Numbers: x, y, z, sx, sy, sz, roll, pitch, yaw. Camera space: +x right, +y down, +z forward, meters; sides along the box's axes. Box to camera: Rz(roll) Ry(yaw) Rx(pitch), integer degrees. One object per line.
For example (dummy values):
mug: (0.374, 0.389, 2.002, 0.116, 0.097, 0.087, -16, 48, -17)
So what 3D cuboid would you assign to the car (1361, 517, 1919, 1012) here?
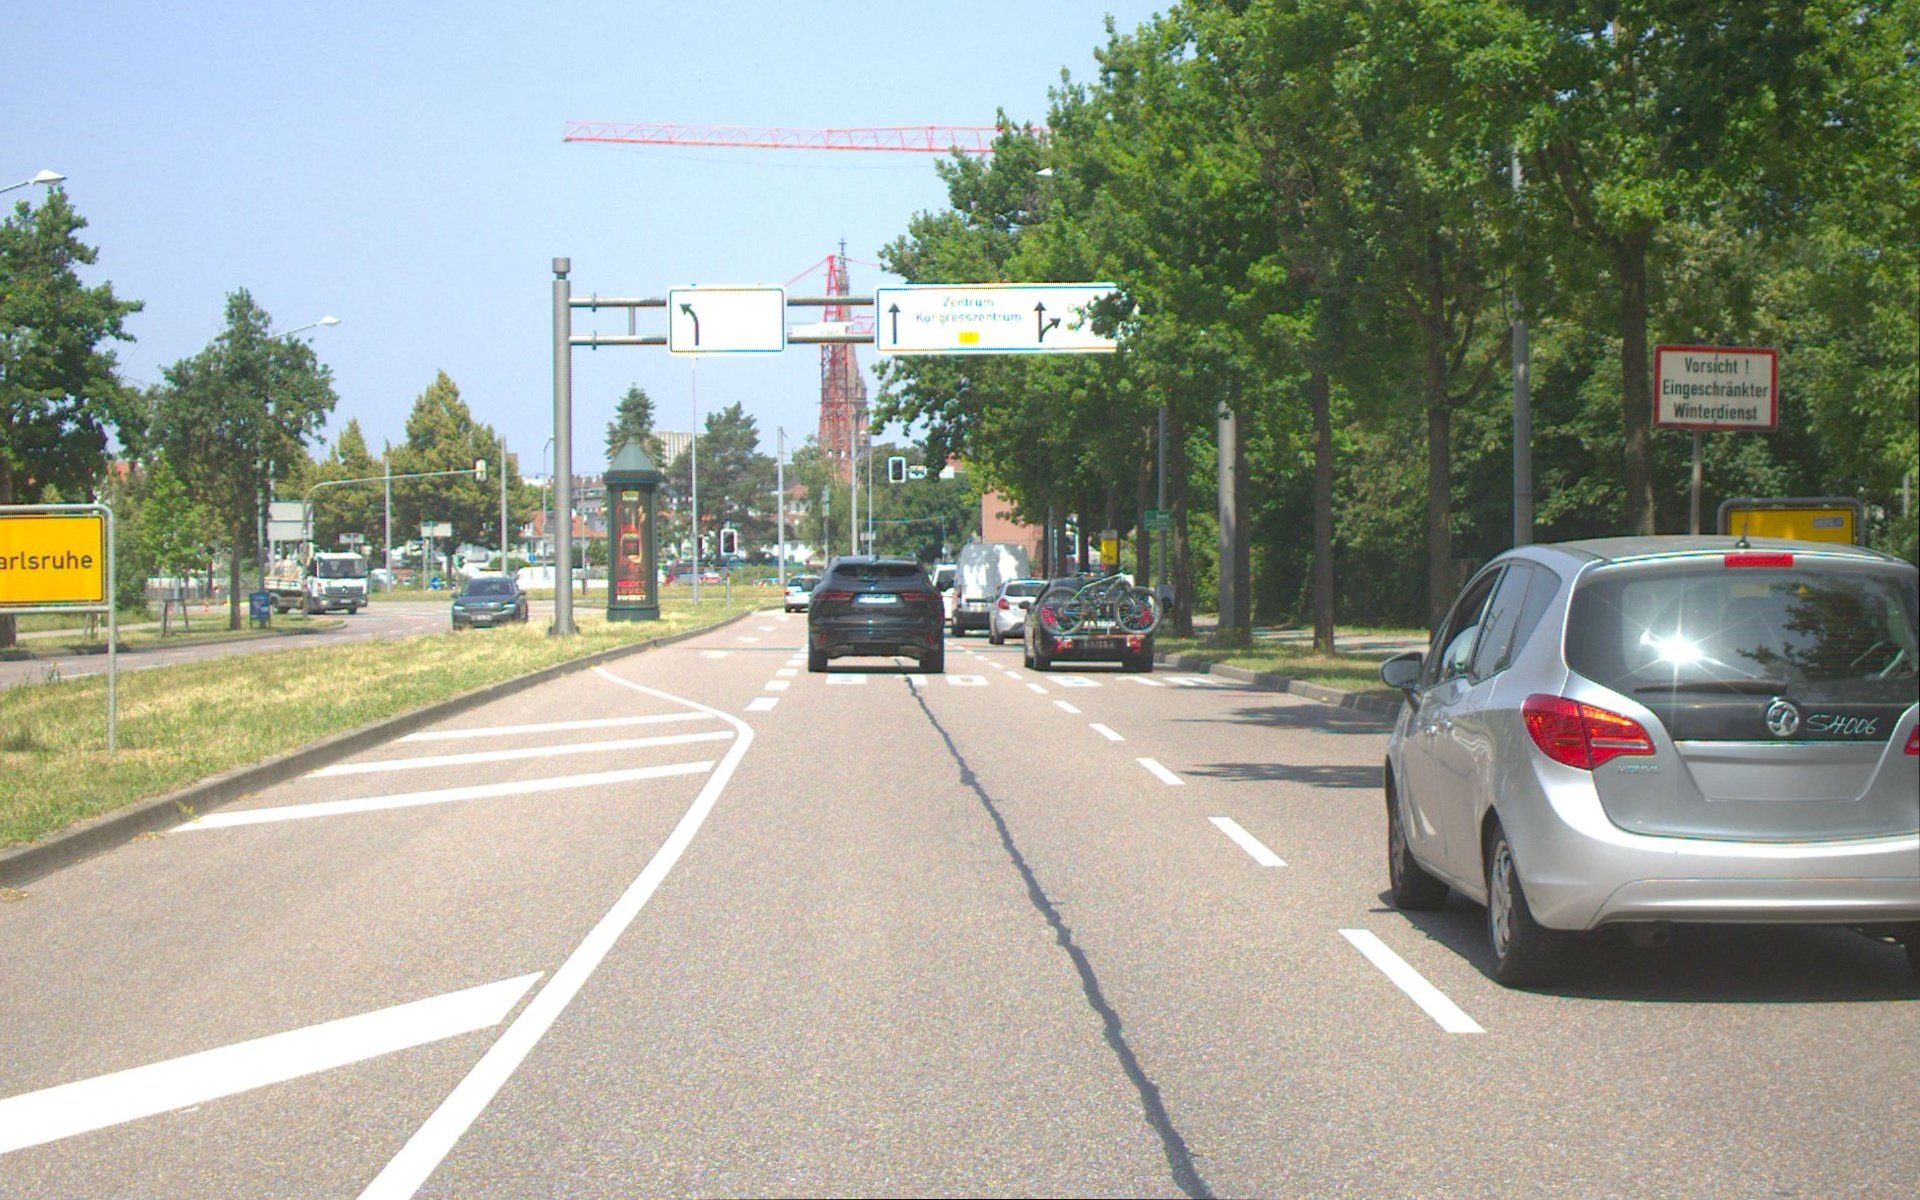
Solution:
car: (2.687, 0.507, 13.189, 1.792, 1.606, 3.891, 1, 1, 0)

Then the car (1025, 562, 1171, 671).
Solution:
car: (2.016, 0.214, 51.287, 2.014, 1.512, 4.461, 0, 1, 0)

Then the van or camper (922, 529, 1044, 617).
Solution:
van or camper: (0.582, -0.731, 93.184, 2.493, 2.283, 4.922, -1, 1, -9)

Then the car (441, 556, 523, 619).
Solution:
car: (-13.645, -0.379, 98.371, 1.892, 1.605, 4.535, -3, 1, -4)

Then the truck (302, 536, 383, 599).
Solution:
truck: (-26.050, -1.390, 145.213, 2.638, 2.568, 6.319, 0, 1, -4)

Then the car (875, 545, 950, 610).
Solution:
car: (-1.521, -0.722, 108.918, 1.993, 2.007, 4.001, 0, 1, -7)

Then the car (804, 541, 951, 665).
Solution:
car: (-1.146, 0.002, 49.347, 1.998, 1.684, 4.034, 1, 1, 0)

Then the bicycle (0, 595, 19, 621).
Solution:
bicycle: (-26.643, 0.227, 95.444, 0.481, 0.713, 1.850, -1, 0, 1)

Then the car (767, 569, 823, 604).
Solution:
car: (-6.455, -0.541, 134.189, 1.993, 1.316, 4.001, 0, 1, -6)

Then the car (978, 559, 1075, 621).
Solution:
car: (1.479, -0.241, 78.428, 1.654, 1.351, 4.461, -1, 1, -6)

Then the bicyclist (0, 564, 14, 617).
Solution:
bicyclist: (-26.648, -0.261, 95.236, 0.623, 1.484, 0.757, -1, 0, 1)
